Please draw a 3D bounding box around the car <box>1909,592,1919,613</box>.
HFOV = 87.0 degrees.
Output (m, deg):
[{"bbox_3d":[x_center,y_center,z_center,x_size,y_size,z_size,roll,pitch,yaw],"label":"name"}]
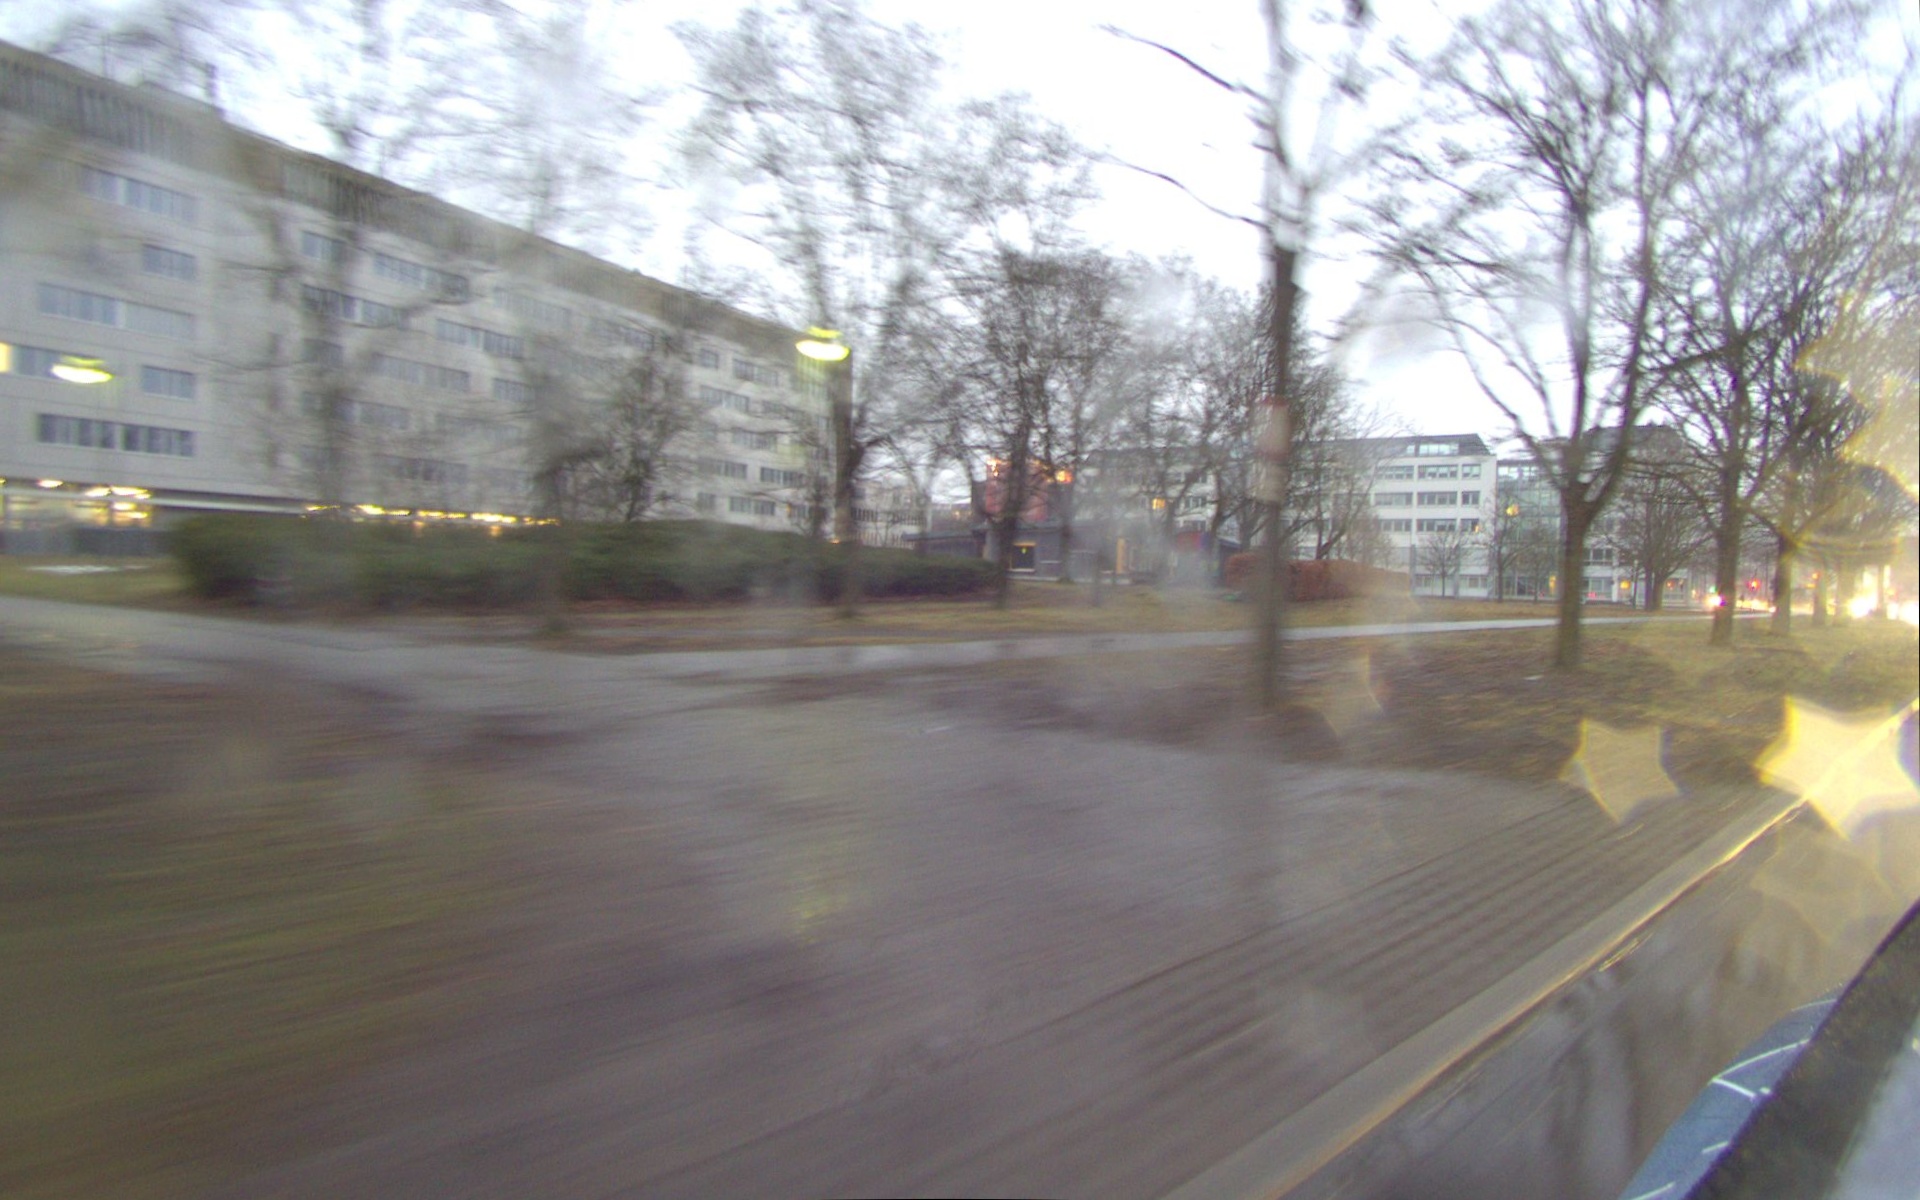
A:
[{"bbox_3d":[73.313,0.159,76.323,1.938,1.575,4.163,0,0,35],"label":"car"}]
